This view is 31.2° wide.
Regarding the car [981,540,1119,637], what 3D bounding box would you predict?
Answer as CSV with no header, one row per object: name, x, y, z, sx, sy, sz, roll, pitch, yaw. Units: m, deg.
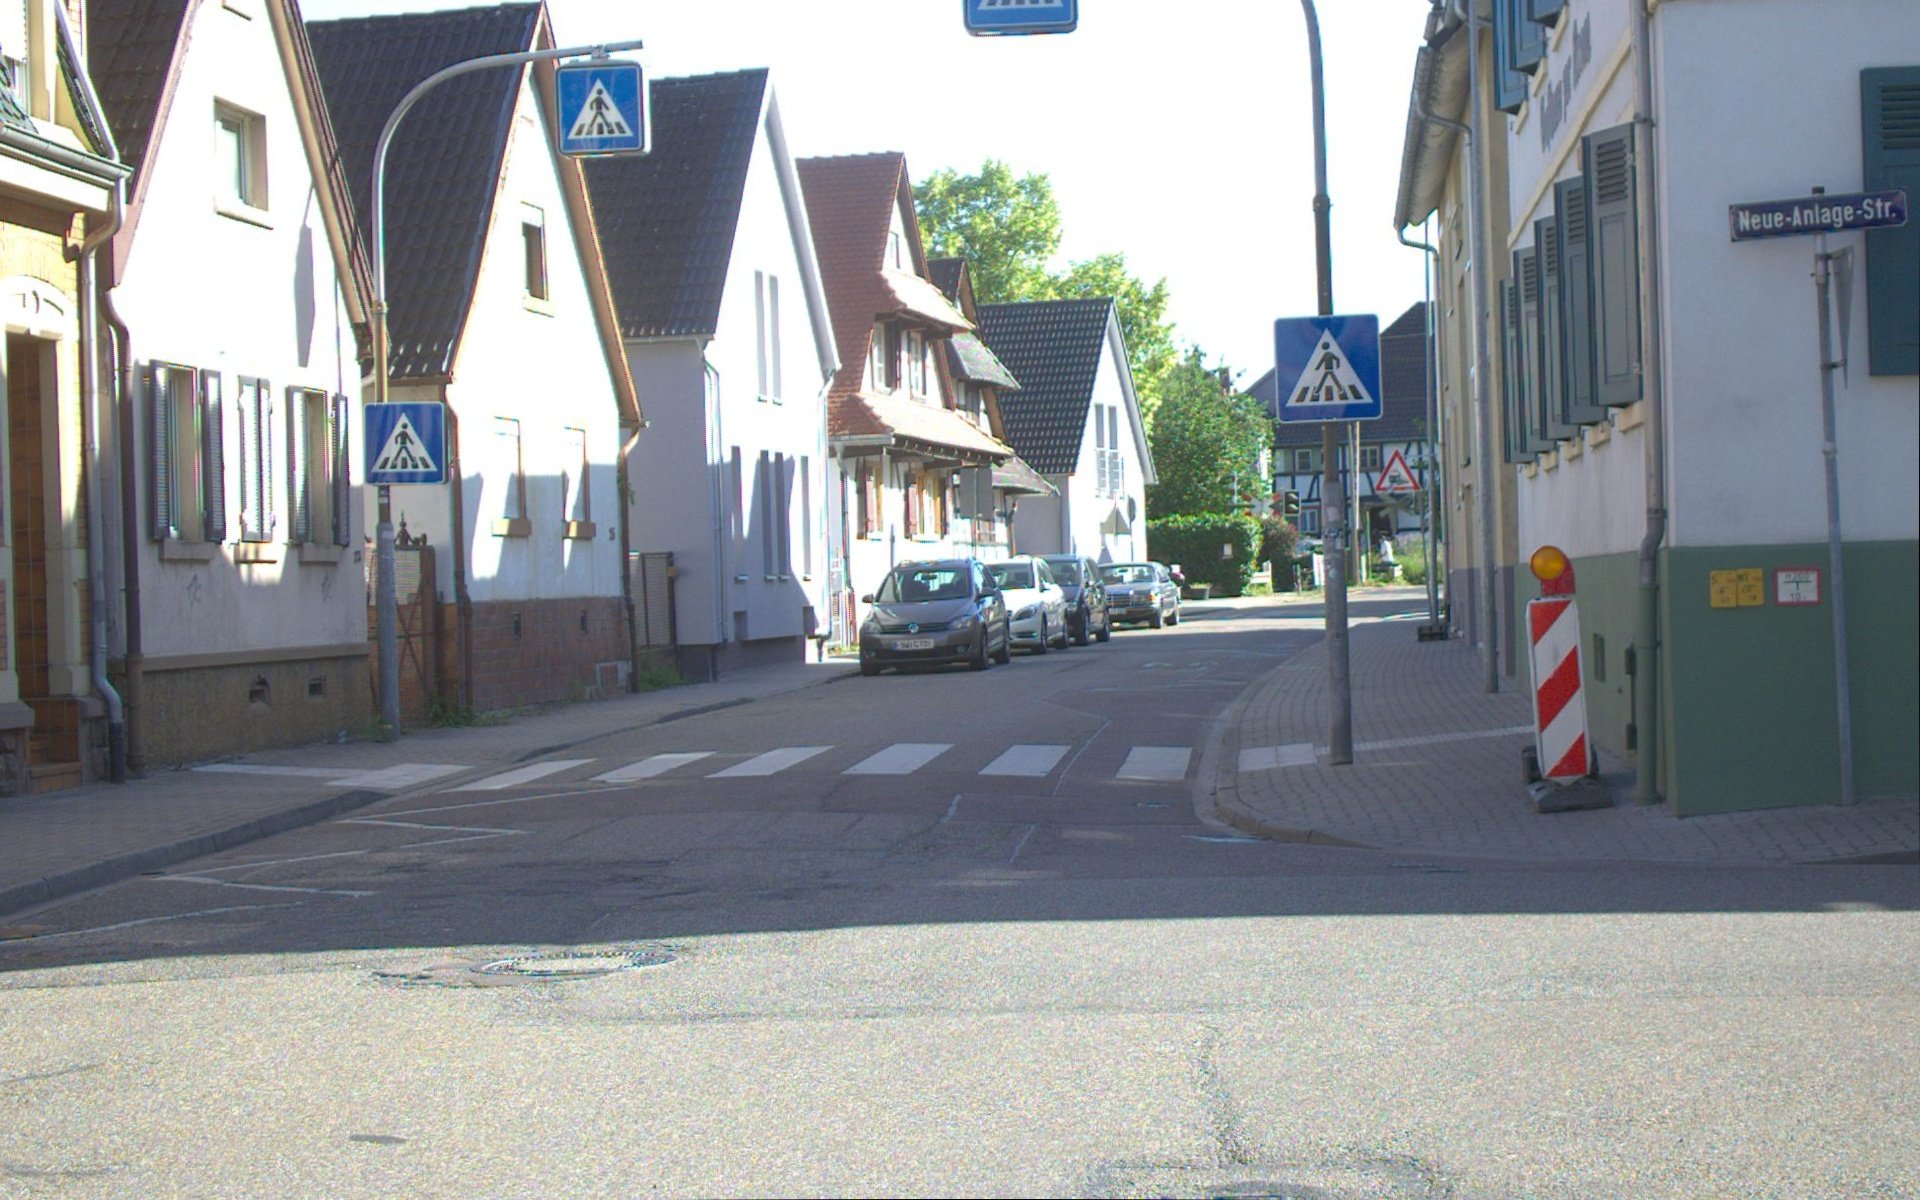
car,1.652,-0.235,61.662,1.784,1.599,4.359,-2,1,10

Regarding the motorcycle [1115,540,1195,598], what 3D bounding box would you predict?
motorcycle,4.340,-0.679,76.538,0.625,1.227,1.994,-3,1,-35

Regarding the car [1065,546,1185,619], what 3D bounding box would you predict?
car,3.536,-0.388,72.873,1.845,1.401,5.034,-3,0,10

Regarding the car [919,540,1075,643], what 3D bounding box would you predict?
car,0.645,-0.154,56.048,1.817,1.561,4.166,-2,0,10

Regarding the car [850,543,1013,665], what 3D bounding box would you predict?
car,-0.360,0.028,49.063,1.743,1.608,3.999,-2,0,8
